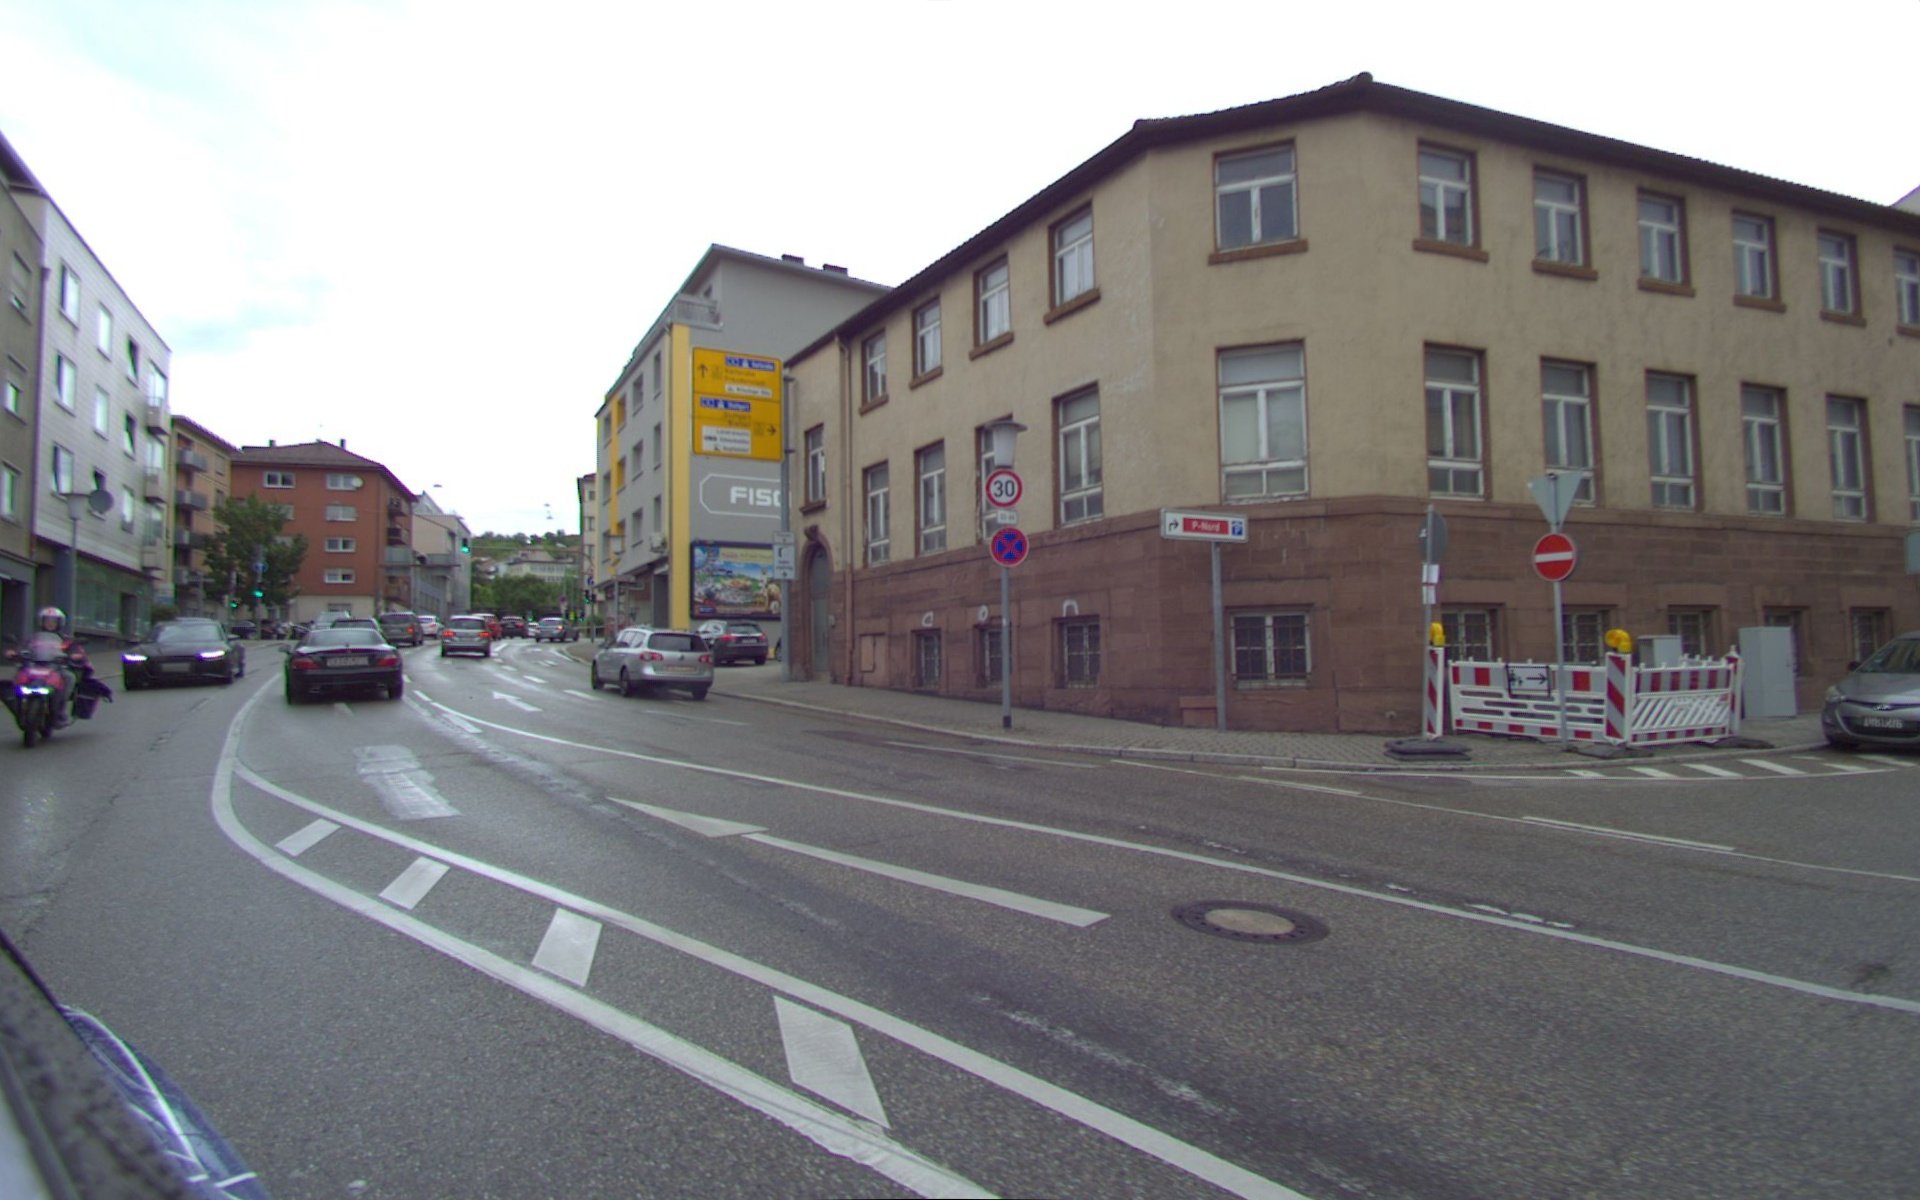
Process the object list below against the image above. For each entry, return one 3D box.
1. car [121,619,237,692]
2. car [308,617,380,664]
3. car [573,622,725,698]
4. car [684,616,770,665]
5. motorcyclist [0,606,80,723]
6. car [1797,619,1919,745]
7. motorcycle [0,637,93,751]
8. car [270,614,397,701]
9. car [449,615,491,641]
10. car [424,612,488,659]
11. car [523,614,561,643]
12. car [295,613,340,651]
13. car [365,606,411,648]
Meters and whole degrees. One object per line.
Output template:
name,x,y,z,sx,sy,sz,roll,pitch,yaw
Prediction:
car,-18.152,1.215,23.689,1.678,1.471,4.331,-2,0,-32
car,-20.703,1.323,34.139,1.831,1.465,4.332,1,-2,-29
car,-6.925,1.270,22.243,1.833,1.465,4.328,4,-3,-36
car,-7.818,1.316,33.690,1.831,1.465,3.975,-3,0,-27
motorcyclist,-11.719,0.789,12.616,0.994,1.391,0.837,-2,0,-35
car,12.891,0.963,12.942,3.747,1.478,1.759,-1,-3,-23
motorcycle,-11.738,1.128,12.681,0.994,1.235,2.701,-2,0,-34
car,-11.972,1.020,19.302,1.832,1.465,4.330,2,-2,-33
car,-28.667,1.635,59.172,1.832,1.465,4.331,1,-2,-31
car,-19.782,1.367,39.636,1.832,1.711,4.331,2,-2,-31
car,-25.699,1.713,62.116,1.831,1.710,4.332,1,-2,-26
car,-34.295,1.671,54.087,1.818,1.918,3.777,1,-1,-30
car,-27.248,1.269,48.139,1.818,1.918,3.776,1,-1,-30
